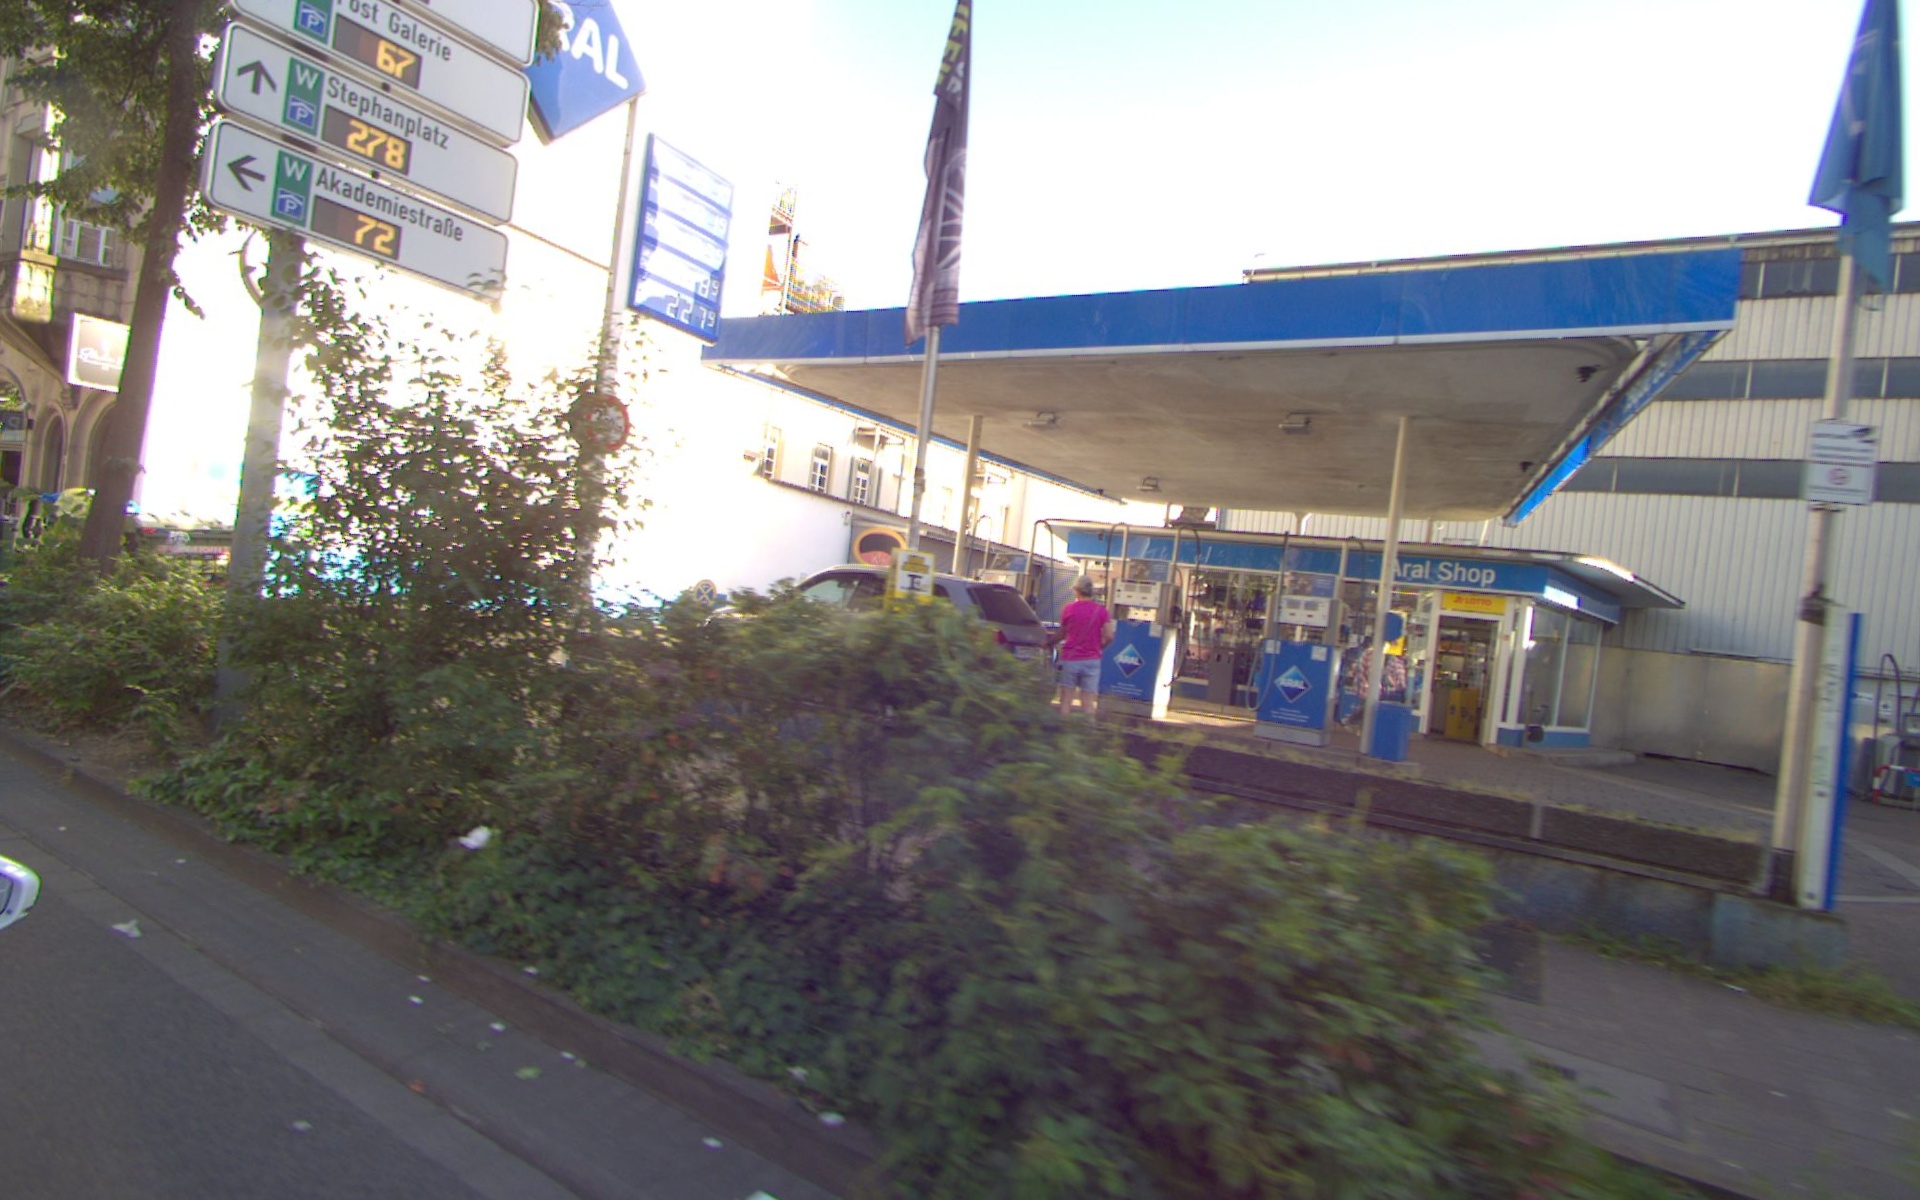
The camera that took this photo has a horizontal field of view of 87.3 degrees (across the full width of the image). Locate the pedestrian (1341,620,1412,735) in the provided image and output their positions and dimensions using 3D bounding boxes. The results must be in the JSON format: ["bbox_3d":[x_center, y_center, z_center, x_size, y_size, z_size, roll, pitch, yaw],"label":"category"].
[{"bbox_3d":[6.880,1.275,16.596,0.807,1.763,0.816,7,0,29],"label":"pedestrian"}]

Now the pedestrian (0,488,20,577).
[{"bbox_3d":[-17.322,-1.238,17.890,0.687,1.560,0.611,7,1,31],"label":"pedestrian"}]

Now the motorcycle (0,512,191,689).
[{"bbox_3d":[-7.711,-0.017,8.230,0.895,1.346,1.984,7,0,19],"label":"motorcycle"}]

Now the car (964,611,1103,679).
[{"bbox_3d":[2.084,1.270,27.386,1.968,1.482,3.990,7,0,33],"label":"car"}]

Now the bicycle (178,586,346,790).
[{"bbox_3d":[-4.132,0.461,6.058,0.431,1.001,1.662,6,0,-24],"label":"bicycle"}]

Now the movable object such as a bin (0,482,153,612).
[{"bbox_3d":[-12.776,-0.753,14.516,1.473,1.648,1.207,7,0,30],"label":"movable object such as a bin"}]

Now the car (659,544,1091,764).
[{"bbox_3d":[-0.993,0.482,10.843,4.223,1.668,1.902,7,0,33],"label":"car"}]

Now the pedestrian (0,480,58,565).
[{"bbox_3d":[-18.734,-1.546,20.180,0.602,1.586,0.698,7,1,31],"label":"pedestrian"}]

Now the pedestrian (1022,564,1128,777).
[{"bbox_3d":[1.102,0.656,9.549,0.696,1.873,0.688,7,1,16],"label":"pedestrian"}]

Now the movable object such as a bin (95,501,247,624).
[{"bbox_3d":[-11.282,-0.515,14.413,1.157,1.549,1.272,7,0,30],"label":"movable object such as a bin"}]
